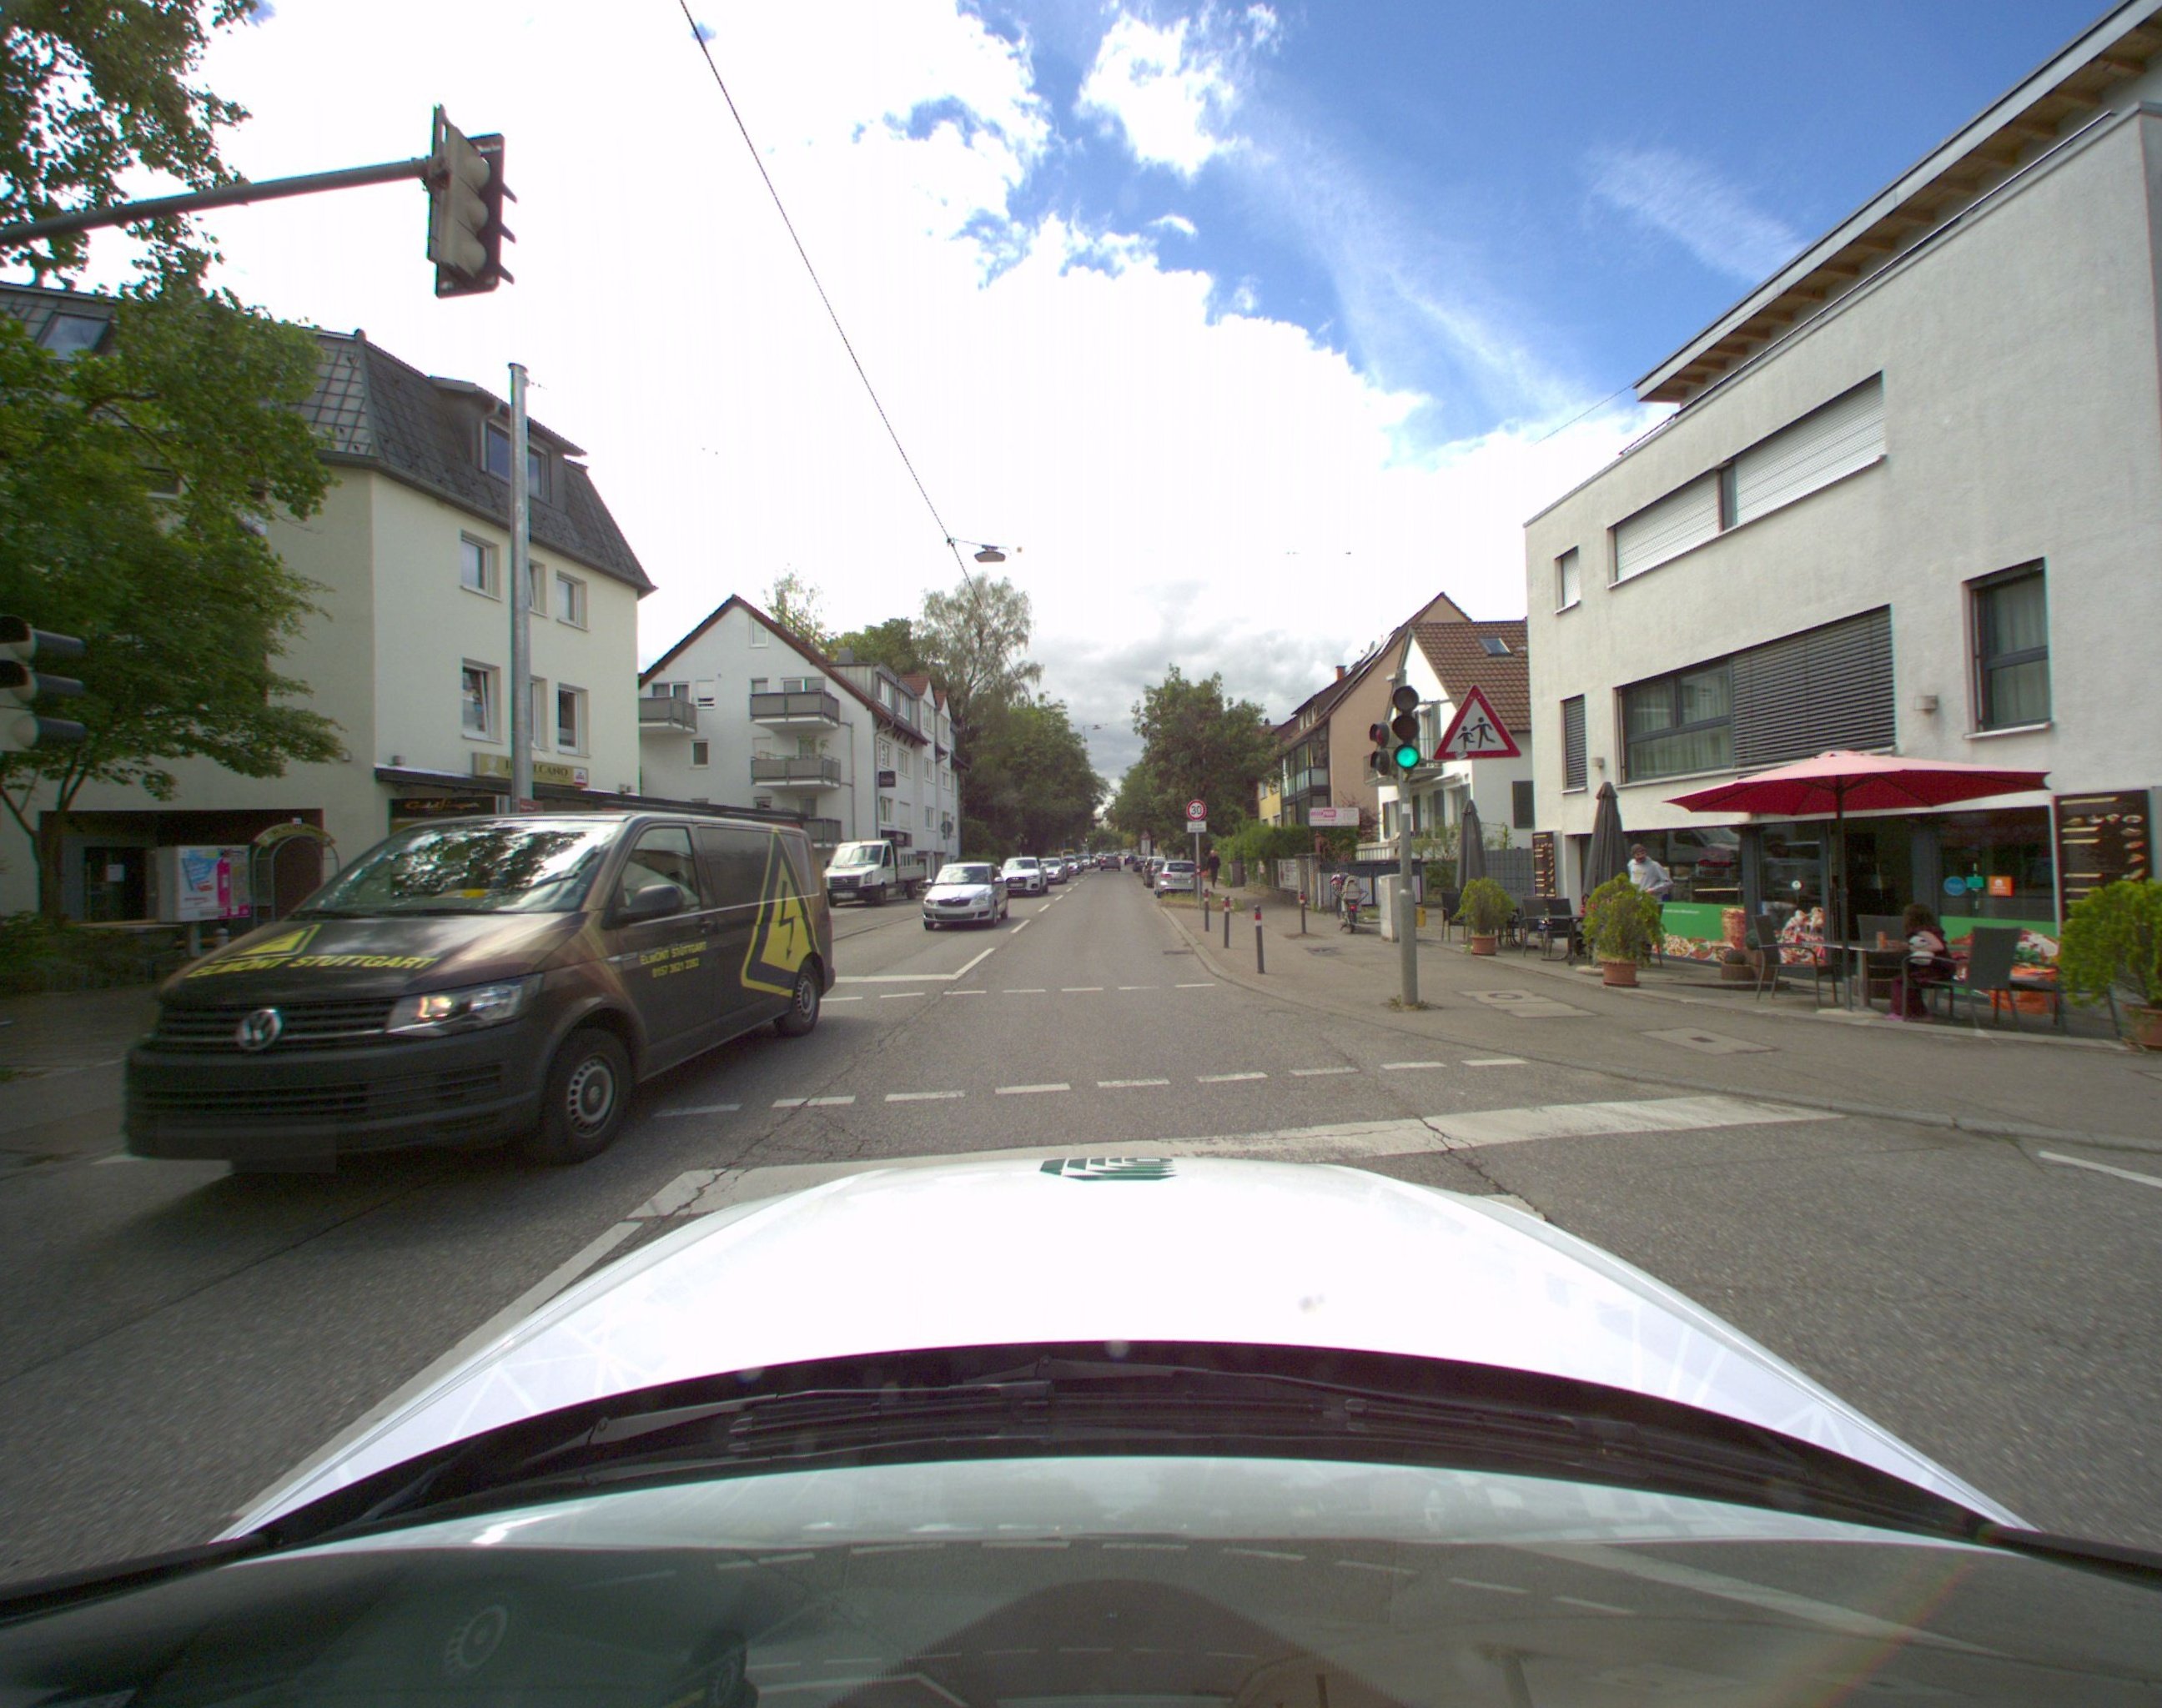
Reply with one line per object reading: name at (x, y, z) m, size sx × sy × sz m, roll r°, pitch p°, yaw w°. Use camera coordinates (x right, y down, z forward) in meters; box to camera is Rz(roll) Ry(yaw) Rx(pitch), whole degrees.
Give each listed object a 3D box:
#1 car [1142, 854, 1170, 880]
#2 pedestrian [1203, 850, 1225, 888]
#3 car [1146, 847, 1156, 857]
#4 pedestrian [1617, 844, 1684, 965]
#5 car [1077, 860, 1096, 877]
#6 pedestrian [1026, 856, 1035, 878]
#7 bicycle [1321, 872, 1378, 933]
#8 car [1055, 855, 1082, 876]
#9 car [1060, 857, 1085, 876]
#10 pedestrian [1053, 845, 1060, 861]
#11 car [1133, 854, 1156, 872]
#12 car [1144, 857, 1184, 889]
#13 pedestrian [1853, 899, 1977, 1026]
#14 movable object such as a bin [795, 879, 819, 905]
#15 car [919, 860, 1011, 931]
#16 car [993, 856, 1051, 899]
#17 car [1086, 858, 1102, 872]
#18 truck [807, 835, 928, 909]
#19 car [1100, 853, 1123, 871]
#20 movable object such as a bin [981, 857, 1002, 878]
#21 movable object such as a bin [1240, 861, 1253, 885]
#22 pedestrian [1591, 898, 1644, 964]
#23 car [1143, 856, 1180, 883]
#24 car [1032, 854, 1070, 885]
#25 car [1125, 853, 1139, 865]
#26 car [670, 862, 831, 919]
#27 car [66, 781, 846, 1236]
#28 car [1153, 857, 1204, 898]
car at (4.766, 0.802, 52.203) m, size 1.615 × 1.507 × 3.781 m, roll -2°, pitch 0°, yaw 2°
pedestrian at (6.112, 0.704, 37.496) m, size 0.876 × 1.712 × 0.843 m, roll -1°, pitch -1°, yaw 3°
car at (14.703, -0.344, 170.782) m, size 1.984 × 2.014 × 4.004 m, roll -1°, pitch -1°, yaw 4°
pedestrian at (8.552, 0.736, 12.248) m, size 0.429 × 1.762 × 0.671 m, roll -1°, pitch -1°, yaw -18°
car at (0.591, 1.520, 89.019) m, size 1.779 × 1.648 × 4.494 m, roll -3°, pitch 0°, yaw 3°
pedestrian at (-3.952, 1.033, 63.427) m, size 0.651 × 1.667 × 0.931 m, roll -1°, pitch -1°, yaw -3°
bicycle at (5.519, 0.957, 16.876) m, size 0.716 × 1.150 × 2.218 m, roll -1°, pitch -1°, yaw 8°
car at (-0.920, 0.845, 63.150) m, size 1.753 × 1.439 × 3.973 m, roll -3°, pitch 0°, yaw 2°
car at (-0.728, 1.106, 73.616) m, size 1.920 × 1.546 × 4.089 m, roll -4°, pitch 0°, yaw 2°
pedestrian at (-2.654, -0.104, 88.241) m, size 0.712 × 1.762 × 1.121 m, roll -1°, pitch -1°, yaw -3°
car at (5.509, 0.785, 70.999) m, size 1.795 × 1.445 × 4.889 m, roll 1°, pitch 0°, yaw 2°
car at (4.104, 0.904, 40.904) m, size 1.727 × 1.428 × 4.886 m, roll 1°, pitch 0°, yaw 3°
pedestrian at (7.841, 0.987, 7.669) m, size 0.568 × 1.089 × 0.629 m, roll -1°, pitch -1°, yaw -23°
movable object such as a bin at (-11.952, 1.676, 35.571) m, size 0.734 × 1.101 × 0.707 m, roll -1°, pitch -1°, yaw 6°
car at (-2.682, 0.920, 19.555) m, size 1.612 × 1.486 × 3.812 m, roll -1°, pitch 0°, yaw 0°
car at (-2.350, 0.899, 33.348) m, size 1.799 × 1.571 × 4.162 m, roll -3°, pitch 0°, yaw 2°
car at (1.599, 1.352, 101.122) m, size 1.777 × 1.592 × 4.157 m, roll -3°, pitch 0°, yaw 3°
truck at (-7.593, 0.625, 29.816) m, size 2.214 × 2.380 × 6.334 m, roll -1°, pitch -1°, yaw 5°
car at (2.815, 0.707, 75.381) m, size 1.968 × 1.513 × 4.270 m, roll 2°, pitch 0°, yaw 3°
movable object such as a bin at (-6.150, 0.914, 56.163) m, size 1.327 × 1.427 × 1.212 m, roll -1°, pitch -1°, yaw -4°
movable object such as a bin at (7.622, 0.873, 37.578) m, size 0.520 × 1.080 × 0.605 m, roll -1°, pitch -1°, yaw 8°
pedestrian at (8.034, 1.140, 12.209) m, size 0.419 × 0.938 × 0.494 m, roll -1°, pitch -1°, yaw -19°
car at (4.577, 0.838, 46.803) m, size 1.985 × 1.423 × 4.593 m, roll -2°, pitch 0°, yaw 4°
car at (-1.623, 0.832, 45.379) m, size 1.722 × 1.502 × 4.378 m, roll -4°, pitch 0°, yaw 2°
car at (6.929, 0.678, 110.807) m, size 1.808 × 1.501 × 4.272 m, roll 0°, pitch 0°, yaw 4°
car at (-9.056, 0.975, 22.540) m, size 3.682 × 1.425 × 1.804 m, roll -1°, pitch 0°, yaw -2°
car at (-3.355, 0.662, 5.852) m, size 1.870 × 1.912 × 4.752 m, roll -1°, pitch 0°, yaw 1°
car at (3.798, 0.879, 32.461) m, size 1.694 × 1.480 × 4.875 m, roll 0°, pitch 0°, yaw 3°
